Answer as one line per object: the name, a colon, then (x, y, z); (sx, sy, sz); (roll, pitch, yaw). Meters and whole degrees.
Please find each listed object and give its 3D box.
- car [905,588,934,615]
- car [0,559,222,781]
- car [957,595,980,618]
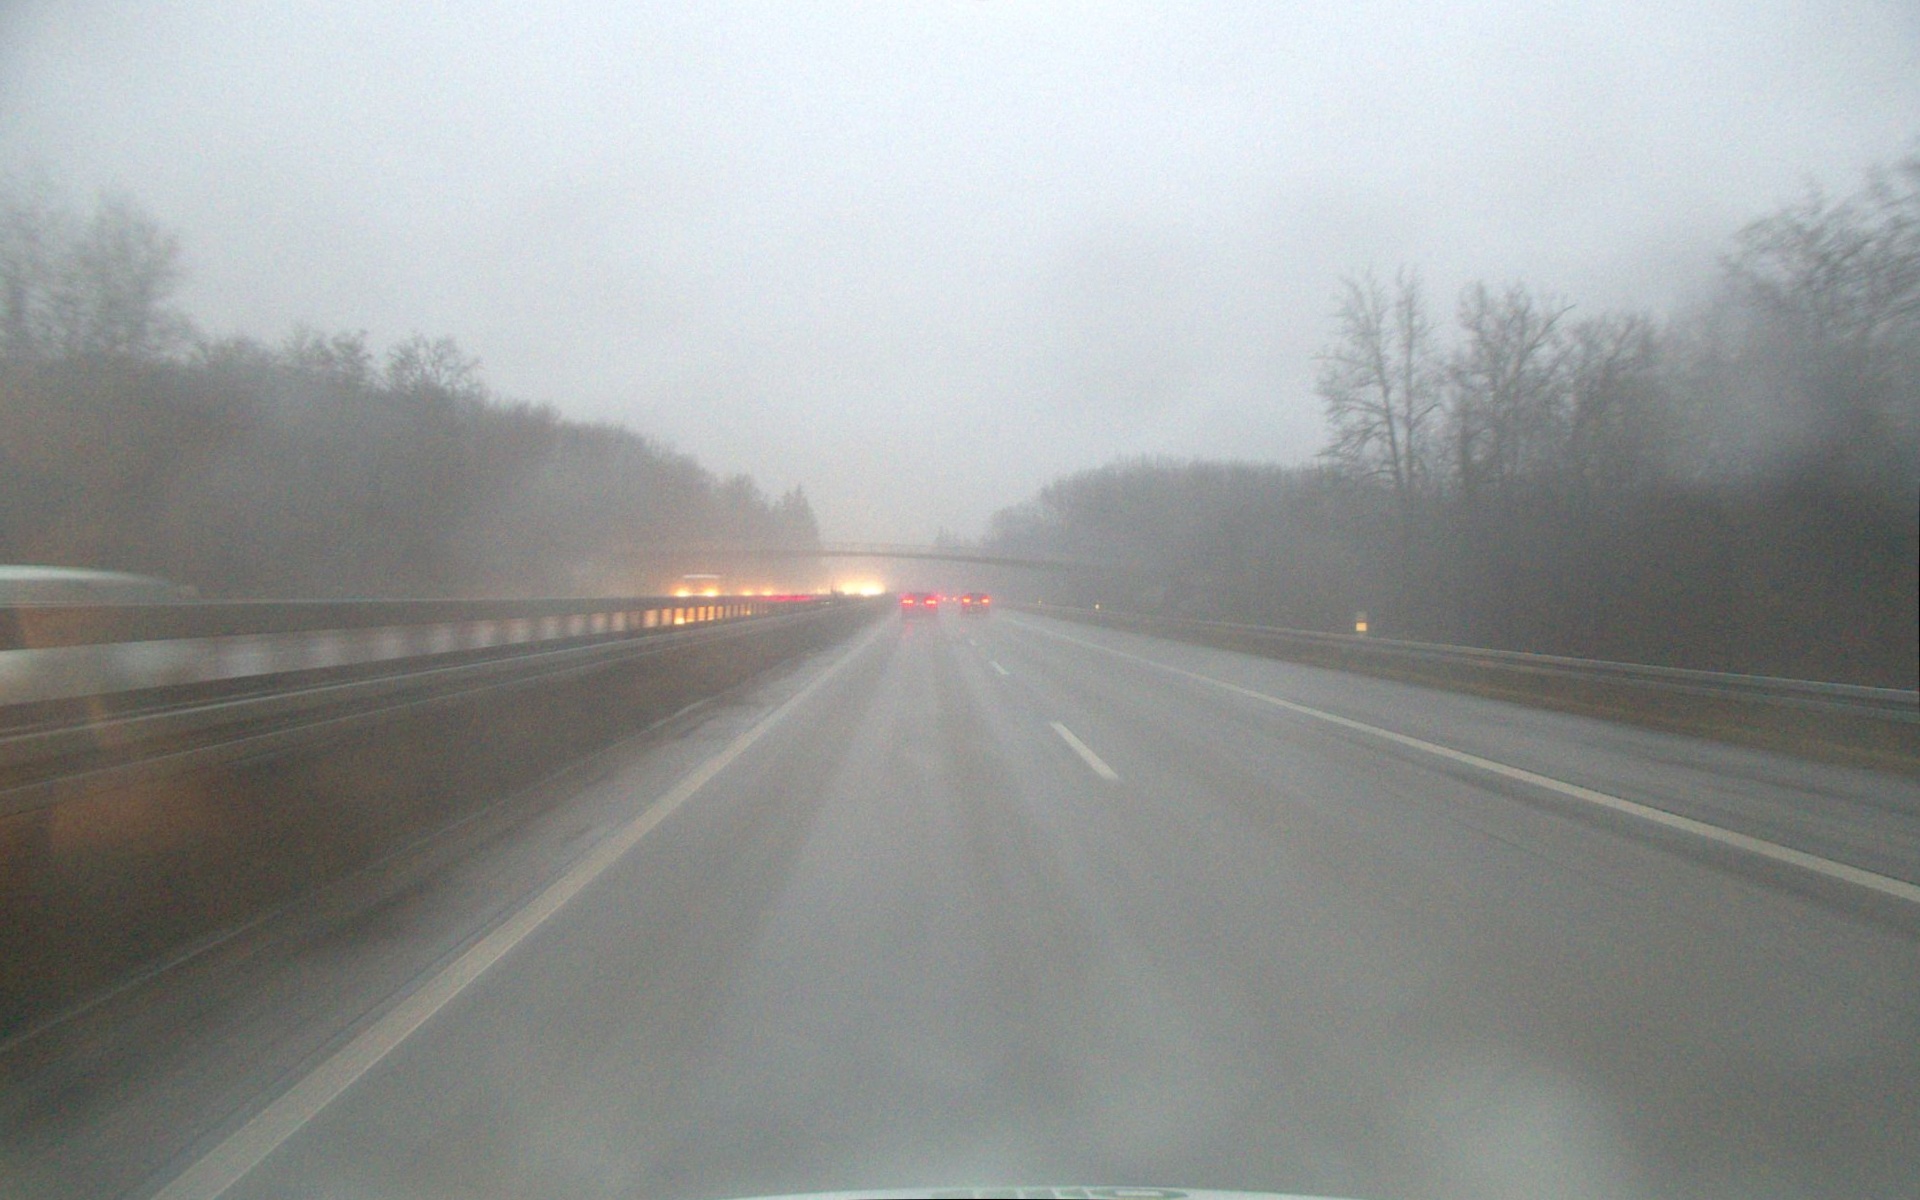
car: (-2.092, 0.075, 85.526); (1.424, 1.367, 3.489); (1, 0, -1)
car: (-7.296, 0.434, 12.219); (1.692, 1.486, 4.416); (3, 0, -1)
car: (0.555, 0.417, 109.407); (1.424, 1.454, 3.489); (2, 0, -1)
